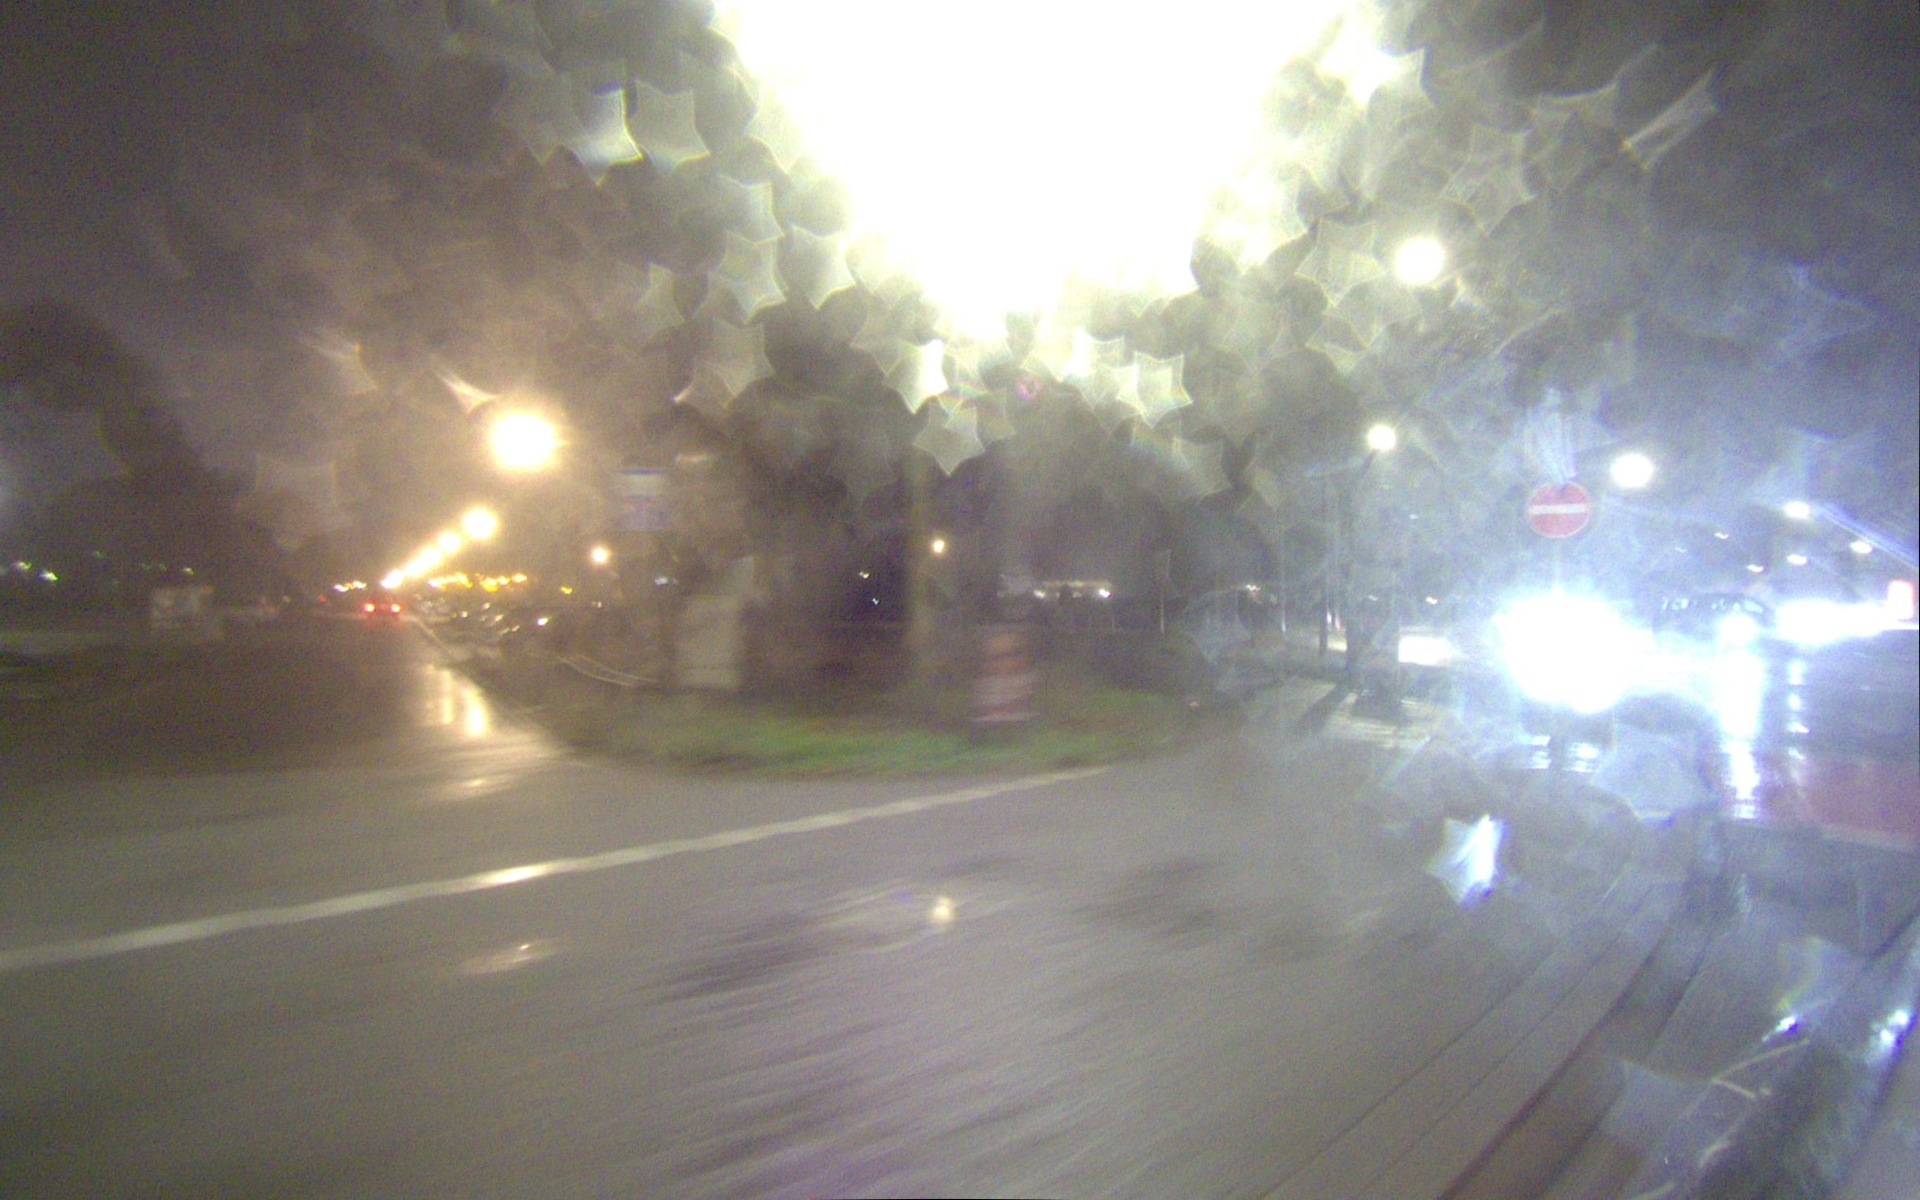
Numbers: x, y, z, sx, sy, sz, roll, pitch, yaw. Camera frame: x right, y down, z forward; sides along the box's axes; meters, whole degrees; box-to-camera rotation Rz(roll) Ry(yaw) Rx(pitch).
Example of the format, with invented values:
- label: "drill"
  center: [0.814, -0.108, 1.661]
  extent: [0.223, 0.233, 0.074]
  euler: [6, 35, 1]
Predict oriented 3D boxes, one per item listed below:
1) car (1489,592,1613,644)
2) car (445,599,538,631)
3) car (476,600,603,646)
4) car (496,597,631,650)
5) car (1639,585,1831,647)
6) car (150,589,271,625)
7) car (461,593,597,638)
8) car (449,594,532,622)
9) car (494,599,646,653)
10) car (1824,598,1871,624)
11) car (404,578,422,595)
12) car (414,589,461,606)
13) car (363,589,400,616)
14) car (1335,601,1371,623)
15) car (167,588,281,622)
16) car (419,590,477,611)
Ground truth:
- label: "car"
  center: [18.399, 0.507, 31.788]
  extent: [1.970, 1.484, 5.077]
  euler: [0, 0, 13]
- label: "car"
  center: [-23.673, 0.747, 51.120]
  extent: [4.102, 1.517, 2.002]
  euler: [0, 1, -31]
- label: "car"
  center: [-15.156, 0.797, 36.462]
  extent: [4.099, 1.540, 2.003]
  euler: [0, 1, -26]
- label: "car"
  center: [-12.536, 0.714, 32.068]
  extent: [3.804, 1.587, 1.491]
  euler: [0, 0, -31]
- label: "car"
  center: [21.831, 0.405, 28.856]
  extent: [1.966, 1.602, 5.187]
  euler: [0, 0, 7]
- label: "car"
  center: [-33.135, 0.270, 44.883]
  extent: [4.102, 1.517, 2.002]
  euler: [0, 1, -31]
- label: "car"
  center: [-16.578, 0.583, 38.954]
  extent: [4.715, 1.657, 2.003]
  euler: [0, -1, -26]
- label: "car"
  center: [-25.852, 0.446, 55.787]
  extent: [4.099, 1.518, 2.003]
  euler: [1, 0, -26]
- label: "car"
  center: [-11.362, 0.718, 29.542]
  extent: [3.942, 1.466, 1.487]
  euler: [0, 0, -32]
- label: "car"
  center: [63.031, 0.769, 71.887]
  extent: [3.930, 1.776, 1.997]
  euler: [0, 1, -41]
- label: "car"
  center: [-67.483, -1.654, 124.852]
  extent: [1.960, 2.039, 4.004]
  euler: [0, 0, -29]
- label: "car"
  center: [-49.557, -0.229, 95.969]
  extent: [3.920, 1.504, 2.002]
  euler: [0, 1, -29]
- label: "car"
  center: [-37.146, 0.130, 65.097]
  extent: [1.959, 1.695, 4.005]
  euler: [0, 0, -28]
- label: "car"
  center: [39.798, 1.199, 102.441]
  extent: [3.934, 2.039, 1.995]
  euler: [0, 1, -44]
- label: "car"
  center: [-34.233, 0.220, 47.225]
  extent: [4.102, 1.517, 2.002]
  euler: [0, 1, -31]
- label: "car"
  center: [-38.889, 0.022, 76.909]
  extent: [3.918, 1.504, 2.003]
  euler: [0, 1, -27]
